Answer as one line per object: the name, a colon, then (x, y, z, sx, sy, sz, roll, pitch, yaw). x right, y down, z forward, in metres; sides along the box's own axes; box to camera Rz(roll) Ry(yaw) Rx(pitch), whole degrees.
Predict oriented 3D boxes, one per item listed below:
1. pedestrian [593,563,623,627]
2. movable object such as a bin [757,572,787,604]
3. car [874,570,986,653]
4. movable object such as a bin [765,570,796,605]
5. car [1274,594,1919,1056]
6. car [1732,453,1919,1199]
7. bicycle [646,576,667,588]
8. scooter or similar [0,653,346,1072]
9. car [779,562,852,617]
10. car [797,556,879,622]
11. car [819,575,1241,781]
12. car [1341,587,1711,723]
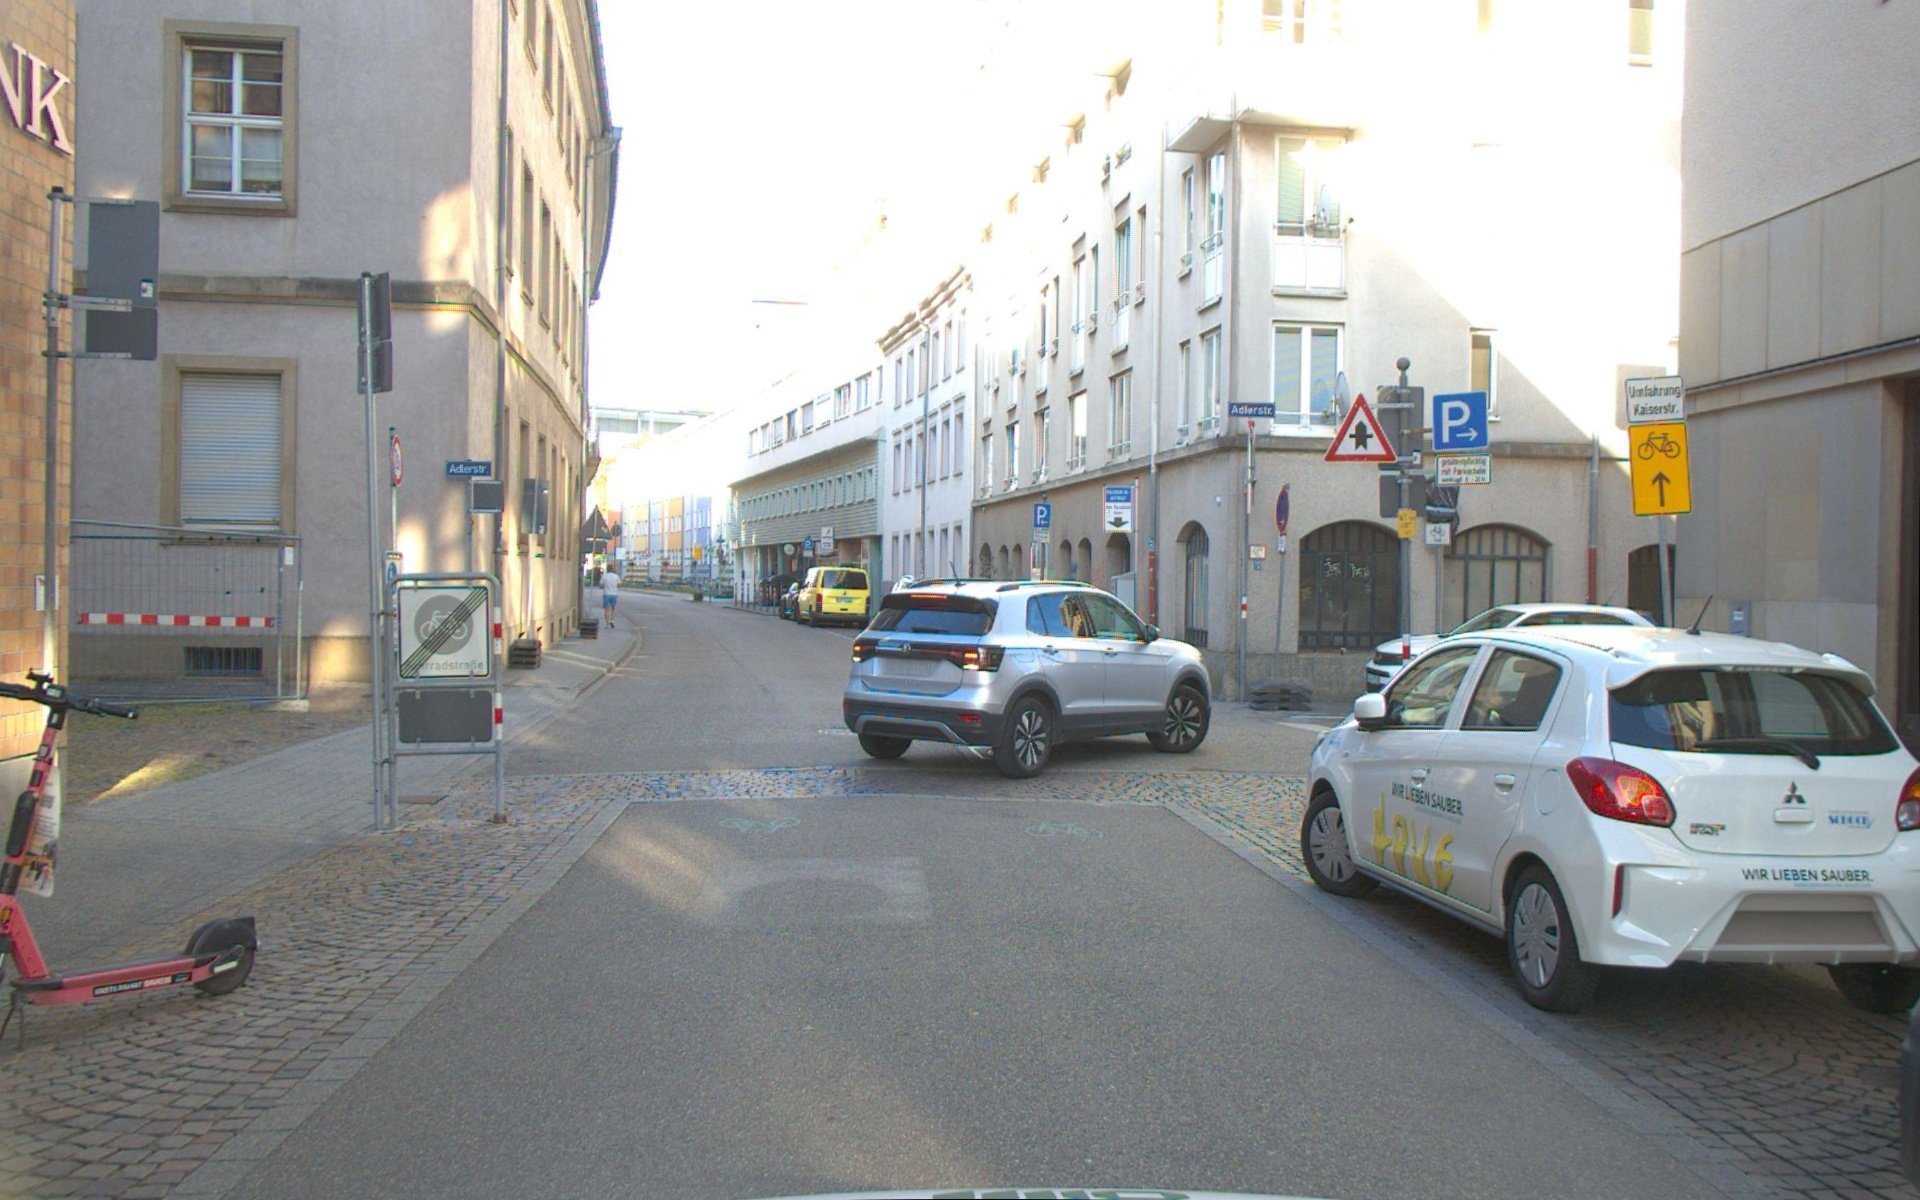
pedestrian: (-9.765, -0.151, 45.876, 0.753, 1.754, 0.684, 1, 0, -15)
movable object such as a bin: (-9.090, -0.604, 79.738, 1.114, 1.505, 1.731, 1, 1, -17)
car: (-0.742, 0.210, 37.642, 1.932, 1.721, 4.093, 2, 1, -9)
movable object such as a bin: (-8.465, -0.593, 78.058, 1.114, 1.585, 1.731, 1, 1, -17)
car: (3.007, 0.791, 7.832, 1.852, 1.544, 4.057, 1, 1, -6)
car: (3.080, 0.634, 1.880, 1.793, 1.822, 5.212, 2, 1, -2)
bicycle: (-26.008, -1.568, 141.858, 1.751, 1.018, 0.544, 1, 0, -16)
scooter or similar: (-2.974, 0.844, 5.933, 0.684, 1.238, 1.356, 0, 1, 25)
car: (-5.268, -0.401, 59.728, 2.018, 1.905, 4.086, 1, 1, -14)
car: (-4.025, -0.371, 53.987, 2.018, 2.048, 4.160, 1, 1, -14)
car: (0.750, 0.573, 14.931, 1.808, 1.589, 3.980, 1, 1, 39)
car: (7.283, 0.680, 21.539, 4.132, 1.580, 1.901, 1, 1, -4)
